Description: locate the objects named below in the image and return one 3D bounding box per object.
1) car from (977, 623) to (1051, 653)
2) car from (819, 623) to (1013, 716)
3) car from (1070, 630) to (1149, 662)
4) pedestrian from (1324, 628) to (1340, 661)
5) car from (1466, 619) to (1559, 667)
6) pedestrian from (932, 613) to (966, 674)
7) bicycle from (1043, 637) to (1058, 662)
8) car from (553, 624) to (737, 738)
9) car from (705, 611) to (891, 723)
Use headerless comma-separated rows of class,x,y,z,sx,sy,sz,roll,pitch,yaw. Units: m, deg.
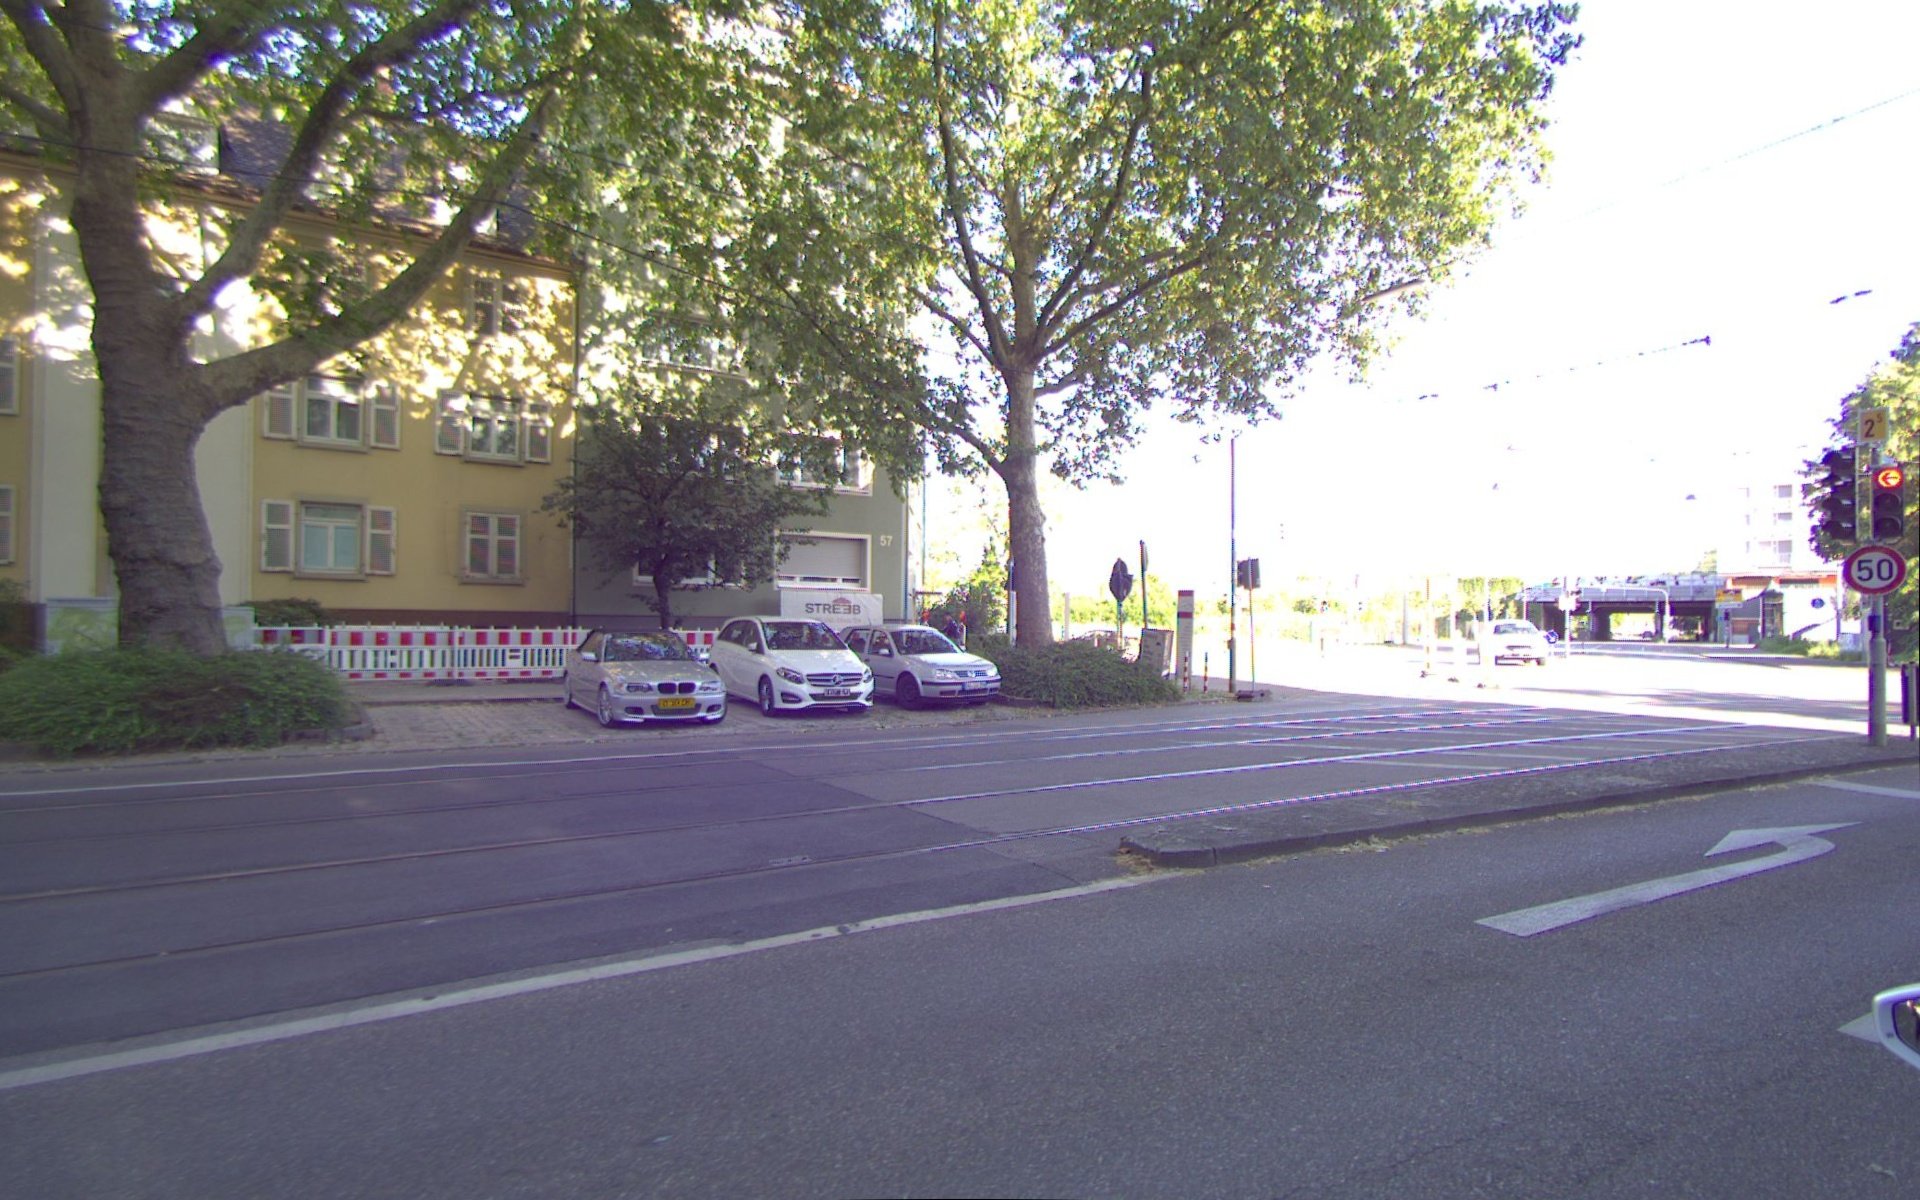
car,3.176,2.226,59.286,3.932,1.439,1.888,0,5,34
car,-0.931,1.216,18.749,1.688,1.436,3.958,2,-1,-36
car,8.287,2.531,55.800,3.932,1.439,1.888,0,5,34
pedestrian,18.741,2.232,50.572,0.591,1.617,0.683,2,-1,34
car,20.754,1.581,37.941,1.960,1.653,4.633,0,-1,15
pedestrian,-0.293,1.144,26.497,0.592,1.589,0.741,0,-1,32
bicycle,2.950,1.610,32.714,0.351,0.769,1.781,1,-1,1
car,-4.953,1.140,15.422,1.823,1.387,4.051,2,-1,-30
car,-2.913,1.063,17.341,1.823,1.633,4.051,2,-1,-30
